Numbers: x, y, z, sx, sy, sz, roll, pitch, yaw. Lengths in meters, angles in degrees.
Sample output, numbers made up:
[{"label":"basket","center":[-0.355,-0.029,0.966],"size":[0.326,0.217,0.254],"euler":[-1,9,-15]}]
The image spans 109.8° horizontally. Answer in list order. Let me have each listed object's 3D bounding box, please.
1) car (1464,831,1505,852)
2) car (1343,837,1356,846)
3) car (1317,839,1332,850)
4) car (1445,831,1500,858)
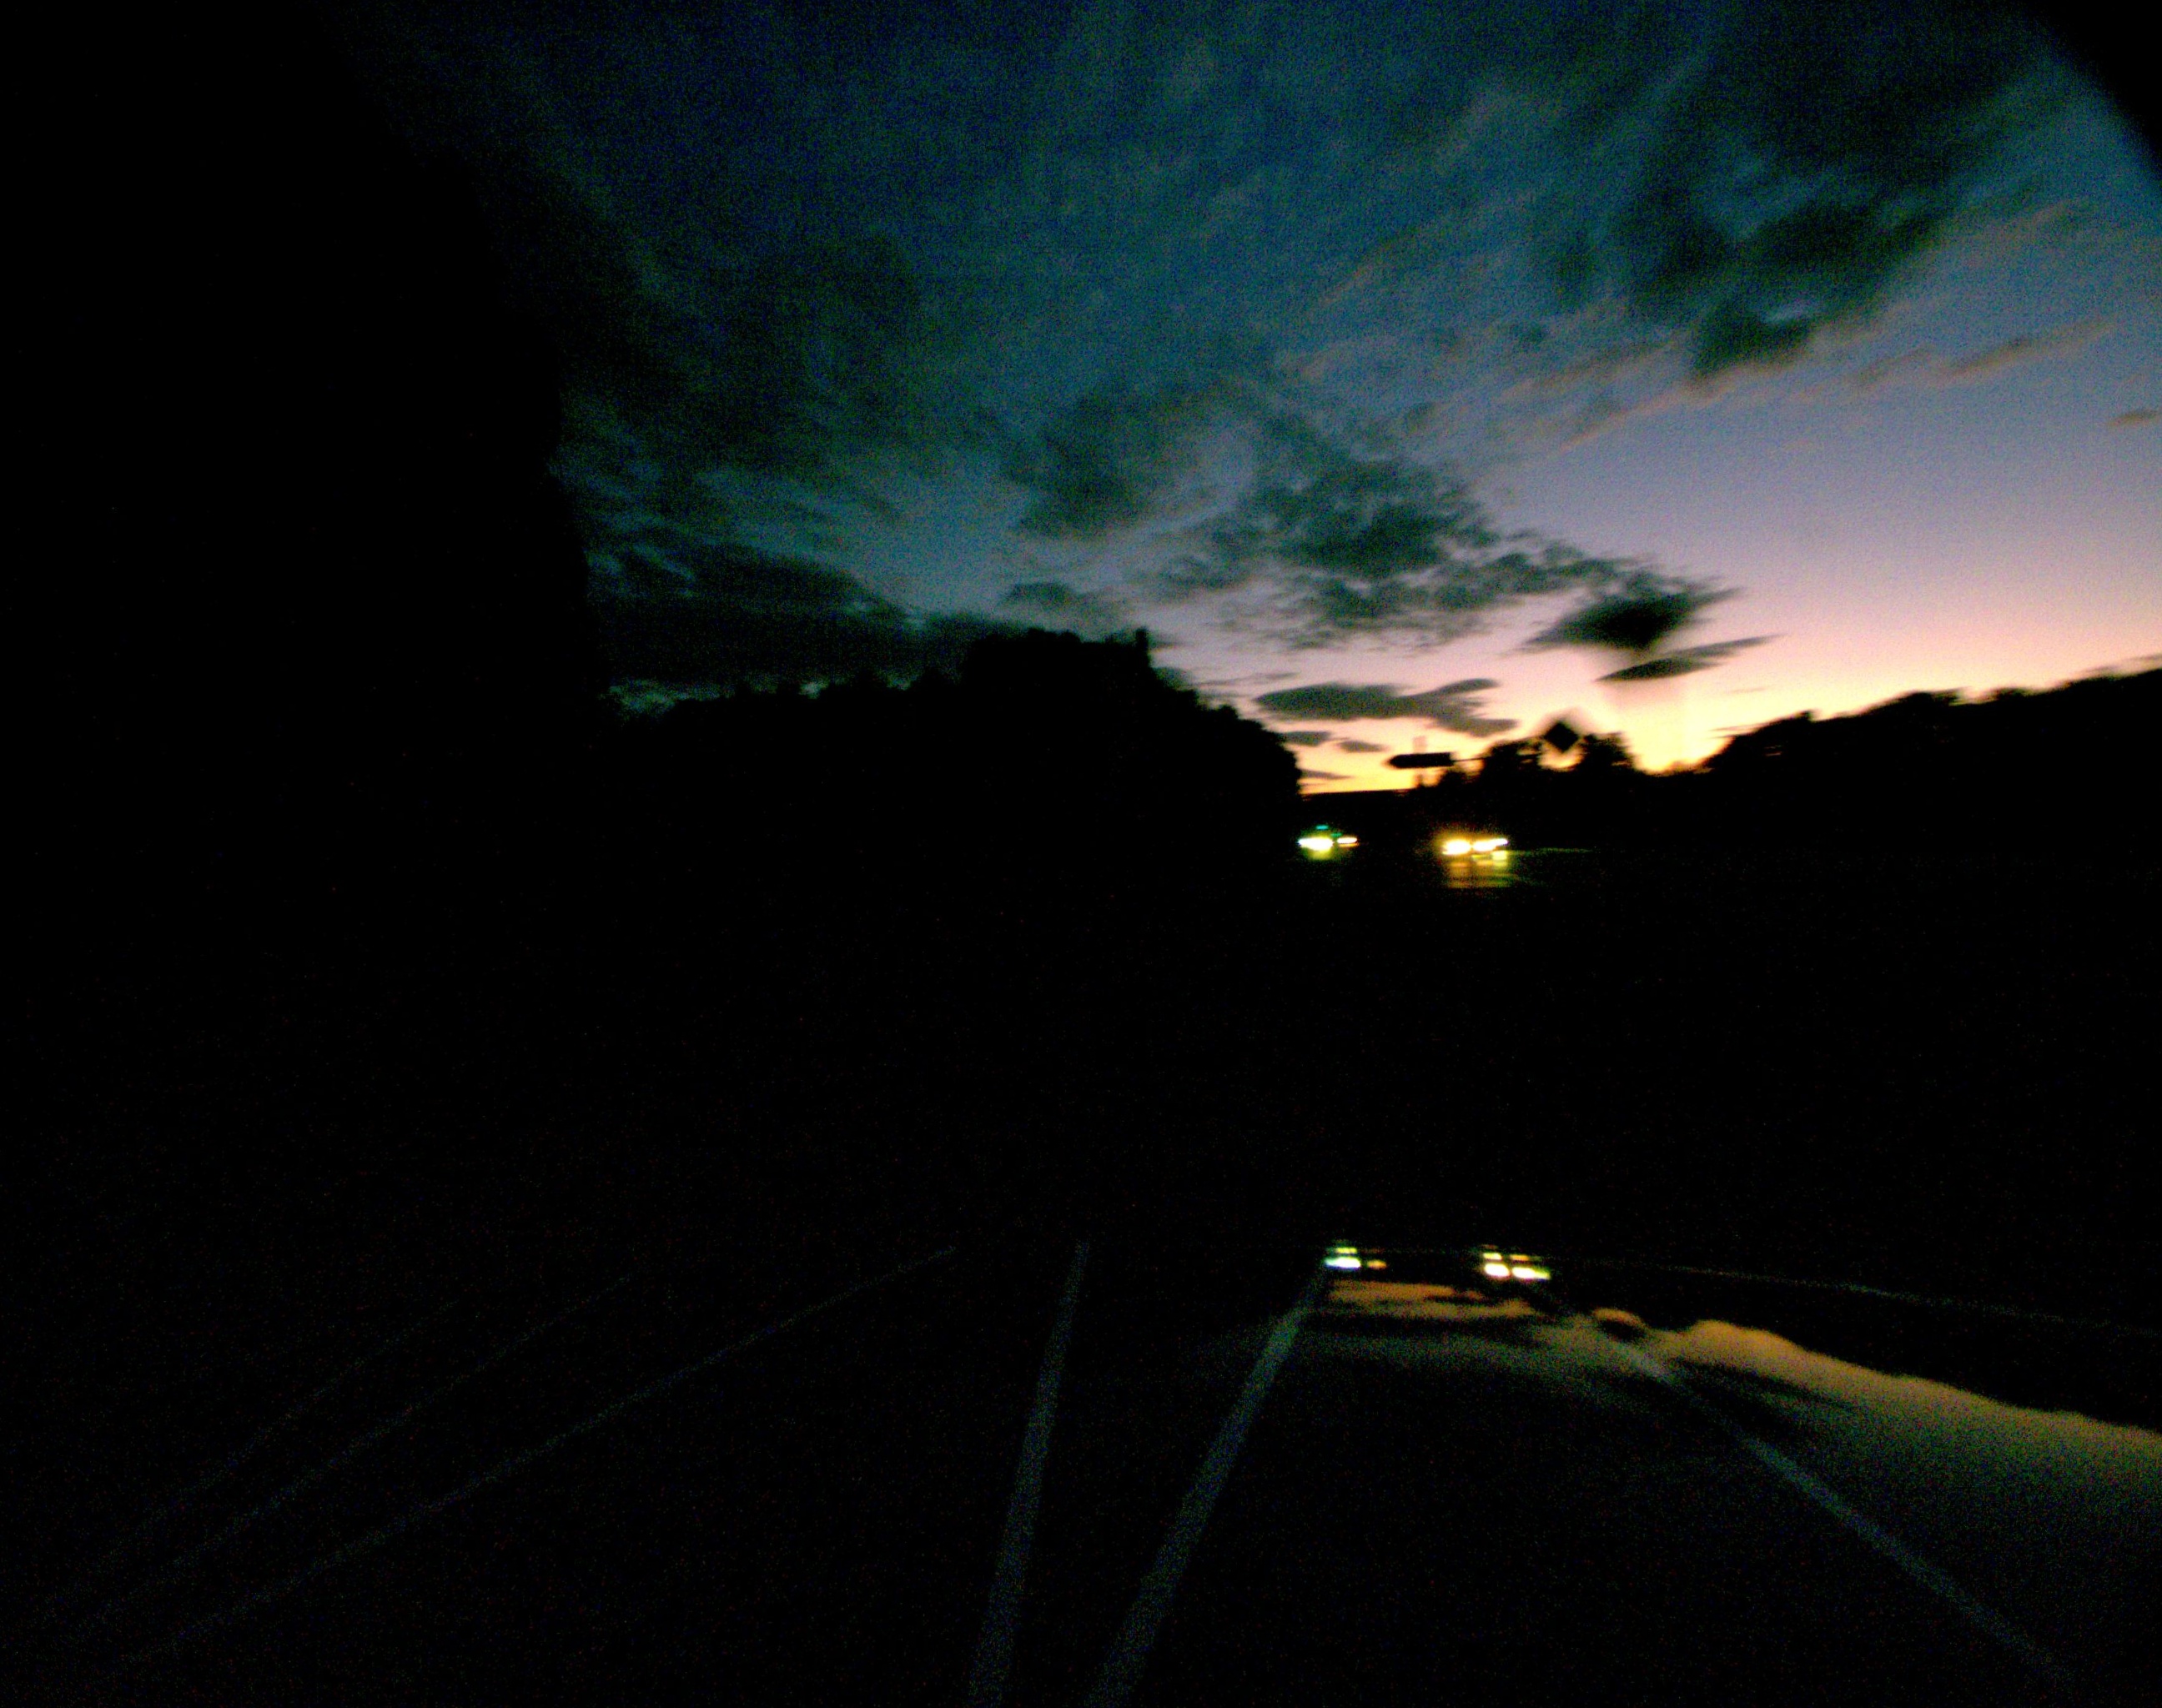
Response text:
[{"label":"car","center":[31.221,-1.002,58.931],"size":[1.996,1.445,4.739],"euler":[-2,1,18]},{"label":"car","center":[51.250,-2.378,144.854],"size":[2.055,1.587,4.006],"euler":[-2,1,23]},{"label":"car","center":[39.944,-1.556,124.452],"size":[2.004,1.718,4.006],"euler":[-1,1,23]},{"label":"car","center":[22.383,-0.550,43.628],"size":[1.996,1.445,4.004],"euler":[0,1,15]}]
